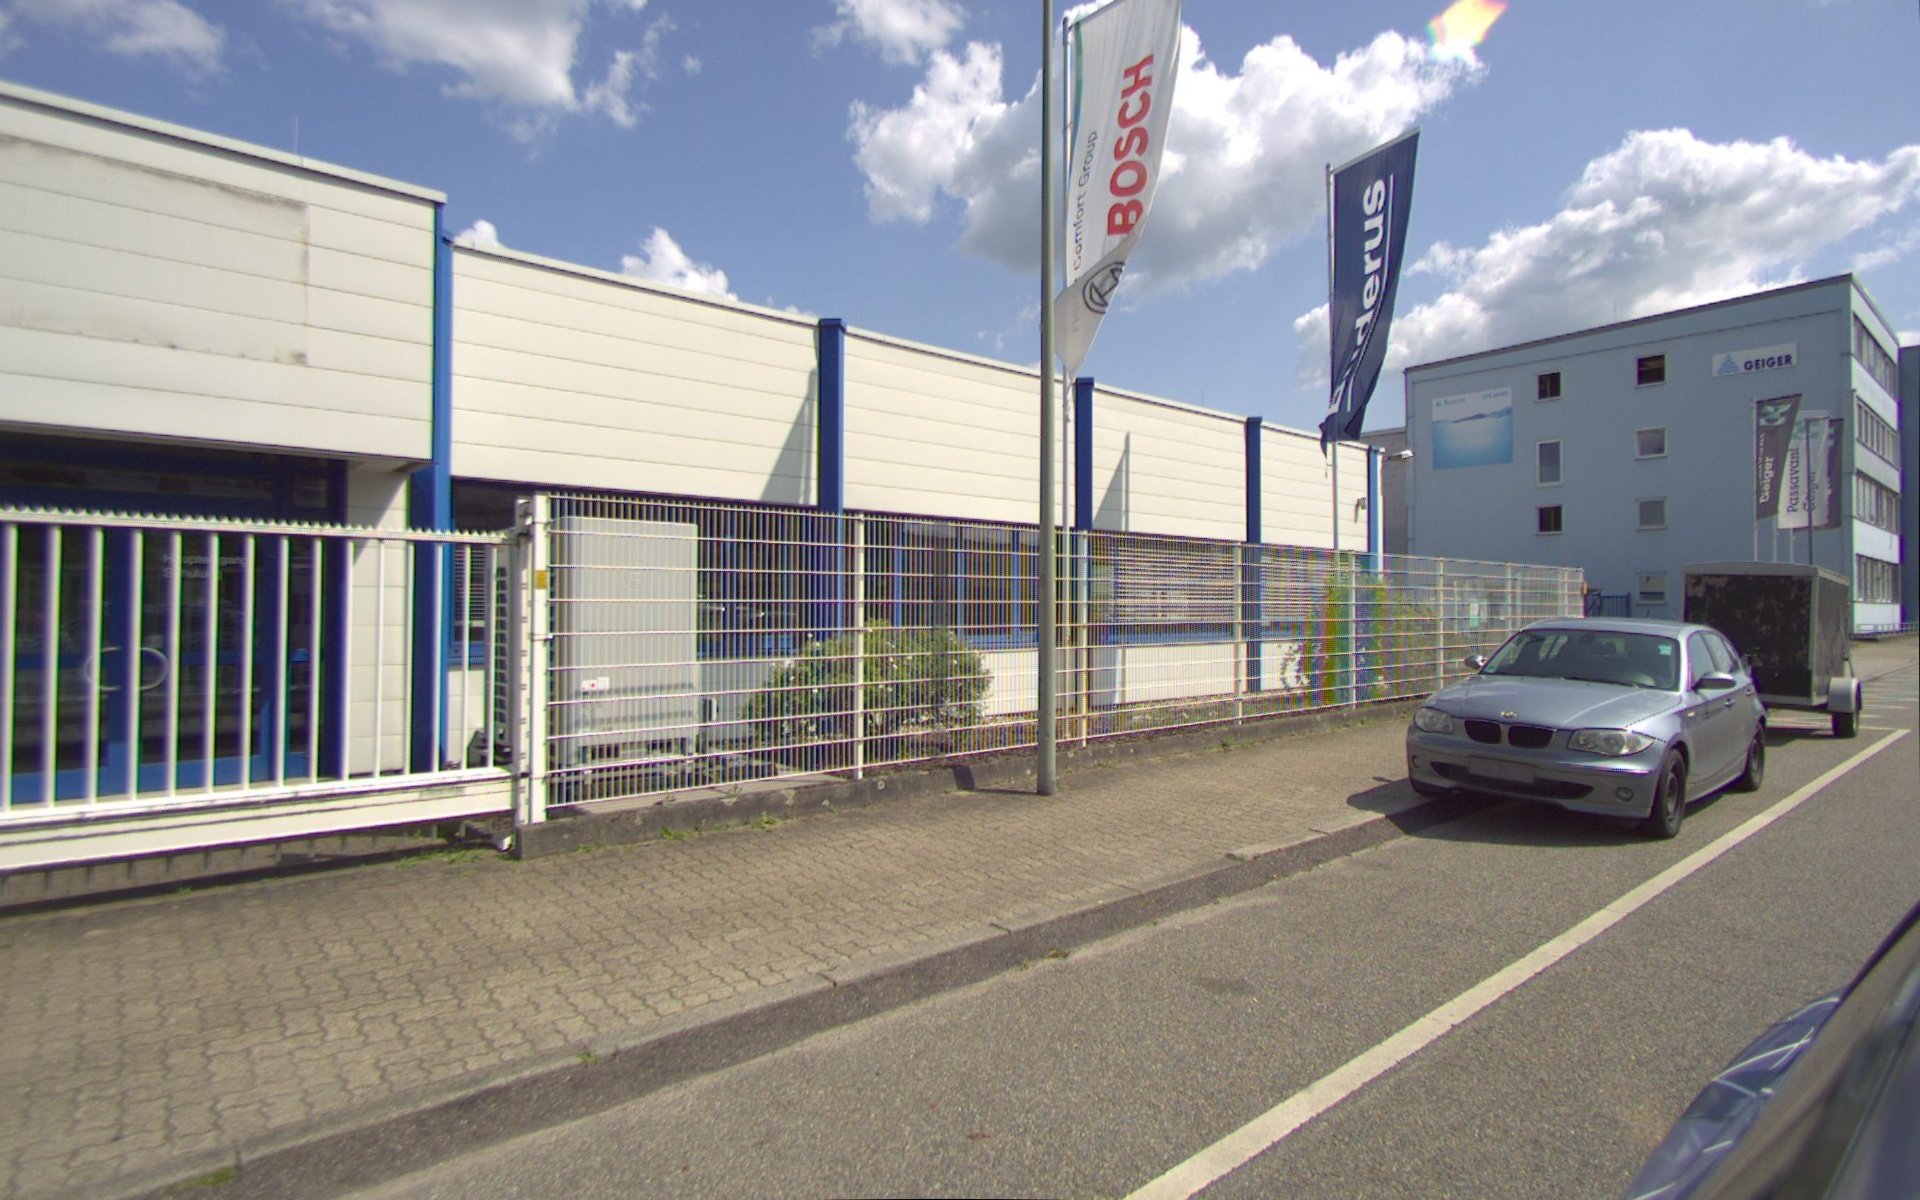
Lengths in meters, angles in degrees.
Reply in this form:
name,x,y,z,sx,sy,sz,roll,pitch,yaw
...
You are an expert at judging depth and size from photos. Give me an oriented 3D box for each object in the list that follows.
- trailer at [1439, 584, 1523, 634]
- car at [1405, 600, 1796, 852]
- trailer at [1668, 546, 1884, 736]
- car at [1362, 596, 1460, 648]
name,x,y,z,sx,sy,sz,roll,pitch,yaw
trailer,22.334,0.370,43.272,1.686,2.010,5.193,0,0,45
car,5.282,0.770,8.124,4.061,1.526,1.574,0,0,-41
trailer,10.111,0.455,12.503,2.693,2.063,1.603,0,-1,-41
car,17.456,0.825,39.094,4.071,1.894,1.995,0,-1,-43
